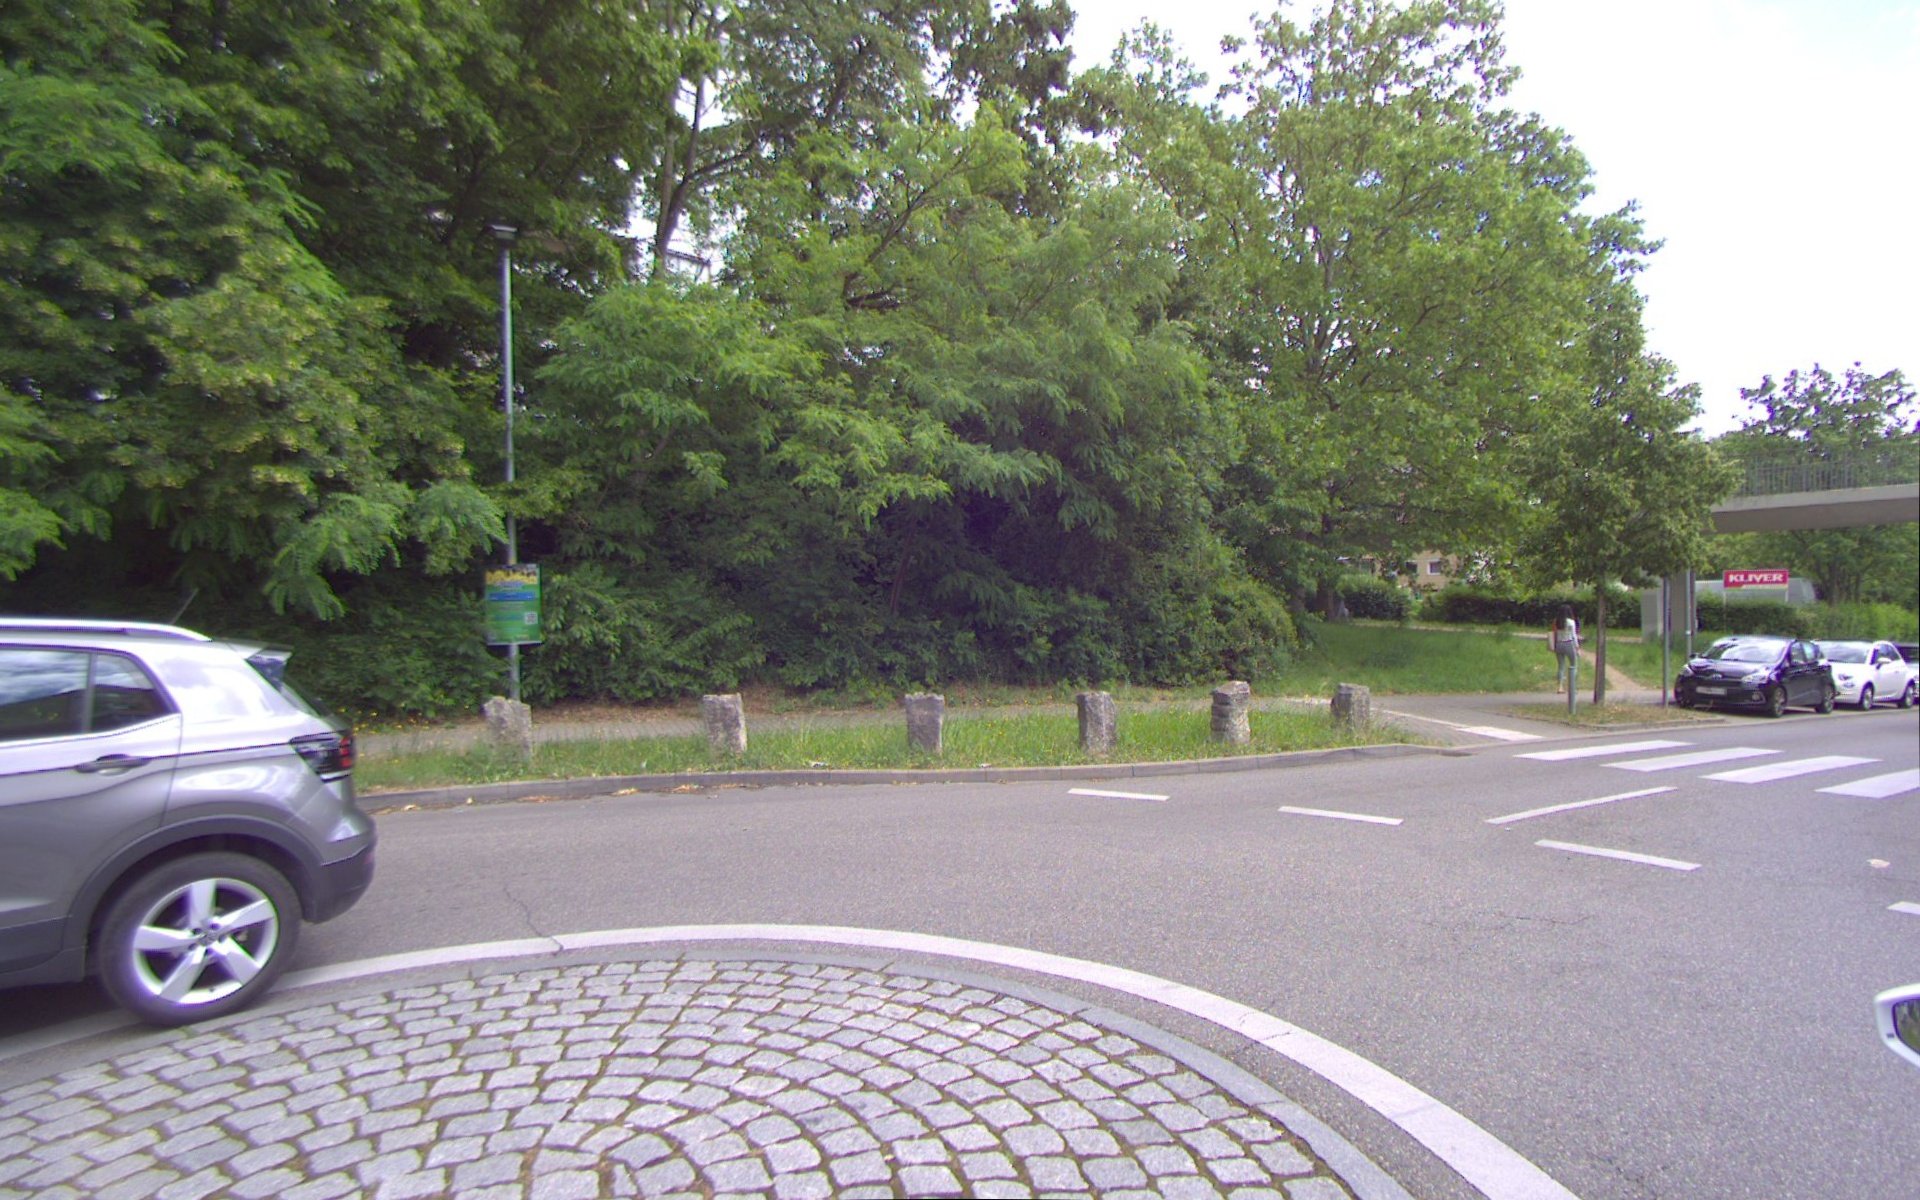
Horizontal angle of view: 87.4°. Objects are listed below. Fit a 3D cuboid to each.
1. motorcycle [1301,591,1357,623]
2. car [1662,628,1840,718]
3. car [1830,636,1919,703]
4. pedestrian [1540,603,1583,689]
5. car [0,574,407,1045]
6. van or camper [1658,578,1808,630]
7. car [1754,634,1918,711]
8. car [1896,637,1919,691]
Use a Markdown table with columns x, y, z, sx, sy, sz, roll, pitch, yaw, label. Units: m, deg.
| x | y | z | sx | sy | sz | roll | pitch | yaw | label |
| --- | --- | --- | --- | --- | --- | --- | --- | --- | --- |
| 15.144 | 0.304 | 41.227 | 2.012 | 1.287 | 0.883 | 0 | 0 | -16 | motorcycle |
| 15.935 | 1.377 | 20.182 | 3.961 | 1.488 | 1.773 | 0 | 2 | -36 | car |
| 23.797 | 1.691 | 25.251 | 3.956 | 1.446 | 1.874 | 0 | 0 | -33 | car |
| 12.589 | 0.943 | 21.032 | 0.726 | 1.745 | 0.658 | 1 | 1 | 29 | pedestrian |
| -4.443 | 0.725 | 3.681 | 3.977 | 1.639 | 1.702 | 2 | -2 | -40 | car |
| 33.351 | 0.145 | 43.473 | 1.982 | 2.114 | 4.817 | 0 | 0 | -38 | van or camper |
| 19.617 | 1.550 | 22.473 | 3.508 | 1.479 | 1.874 | 0 | 0 | -33 | car |
| 29.458 | 1.891 | 29.718 | 4.411 | 1.529 | 1.871 | 2 | -1 | -37 | car |
